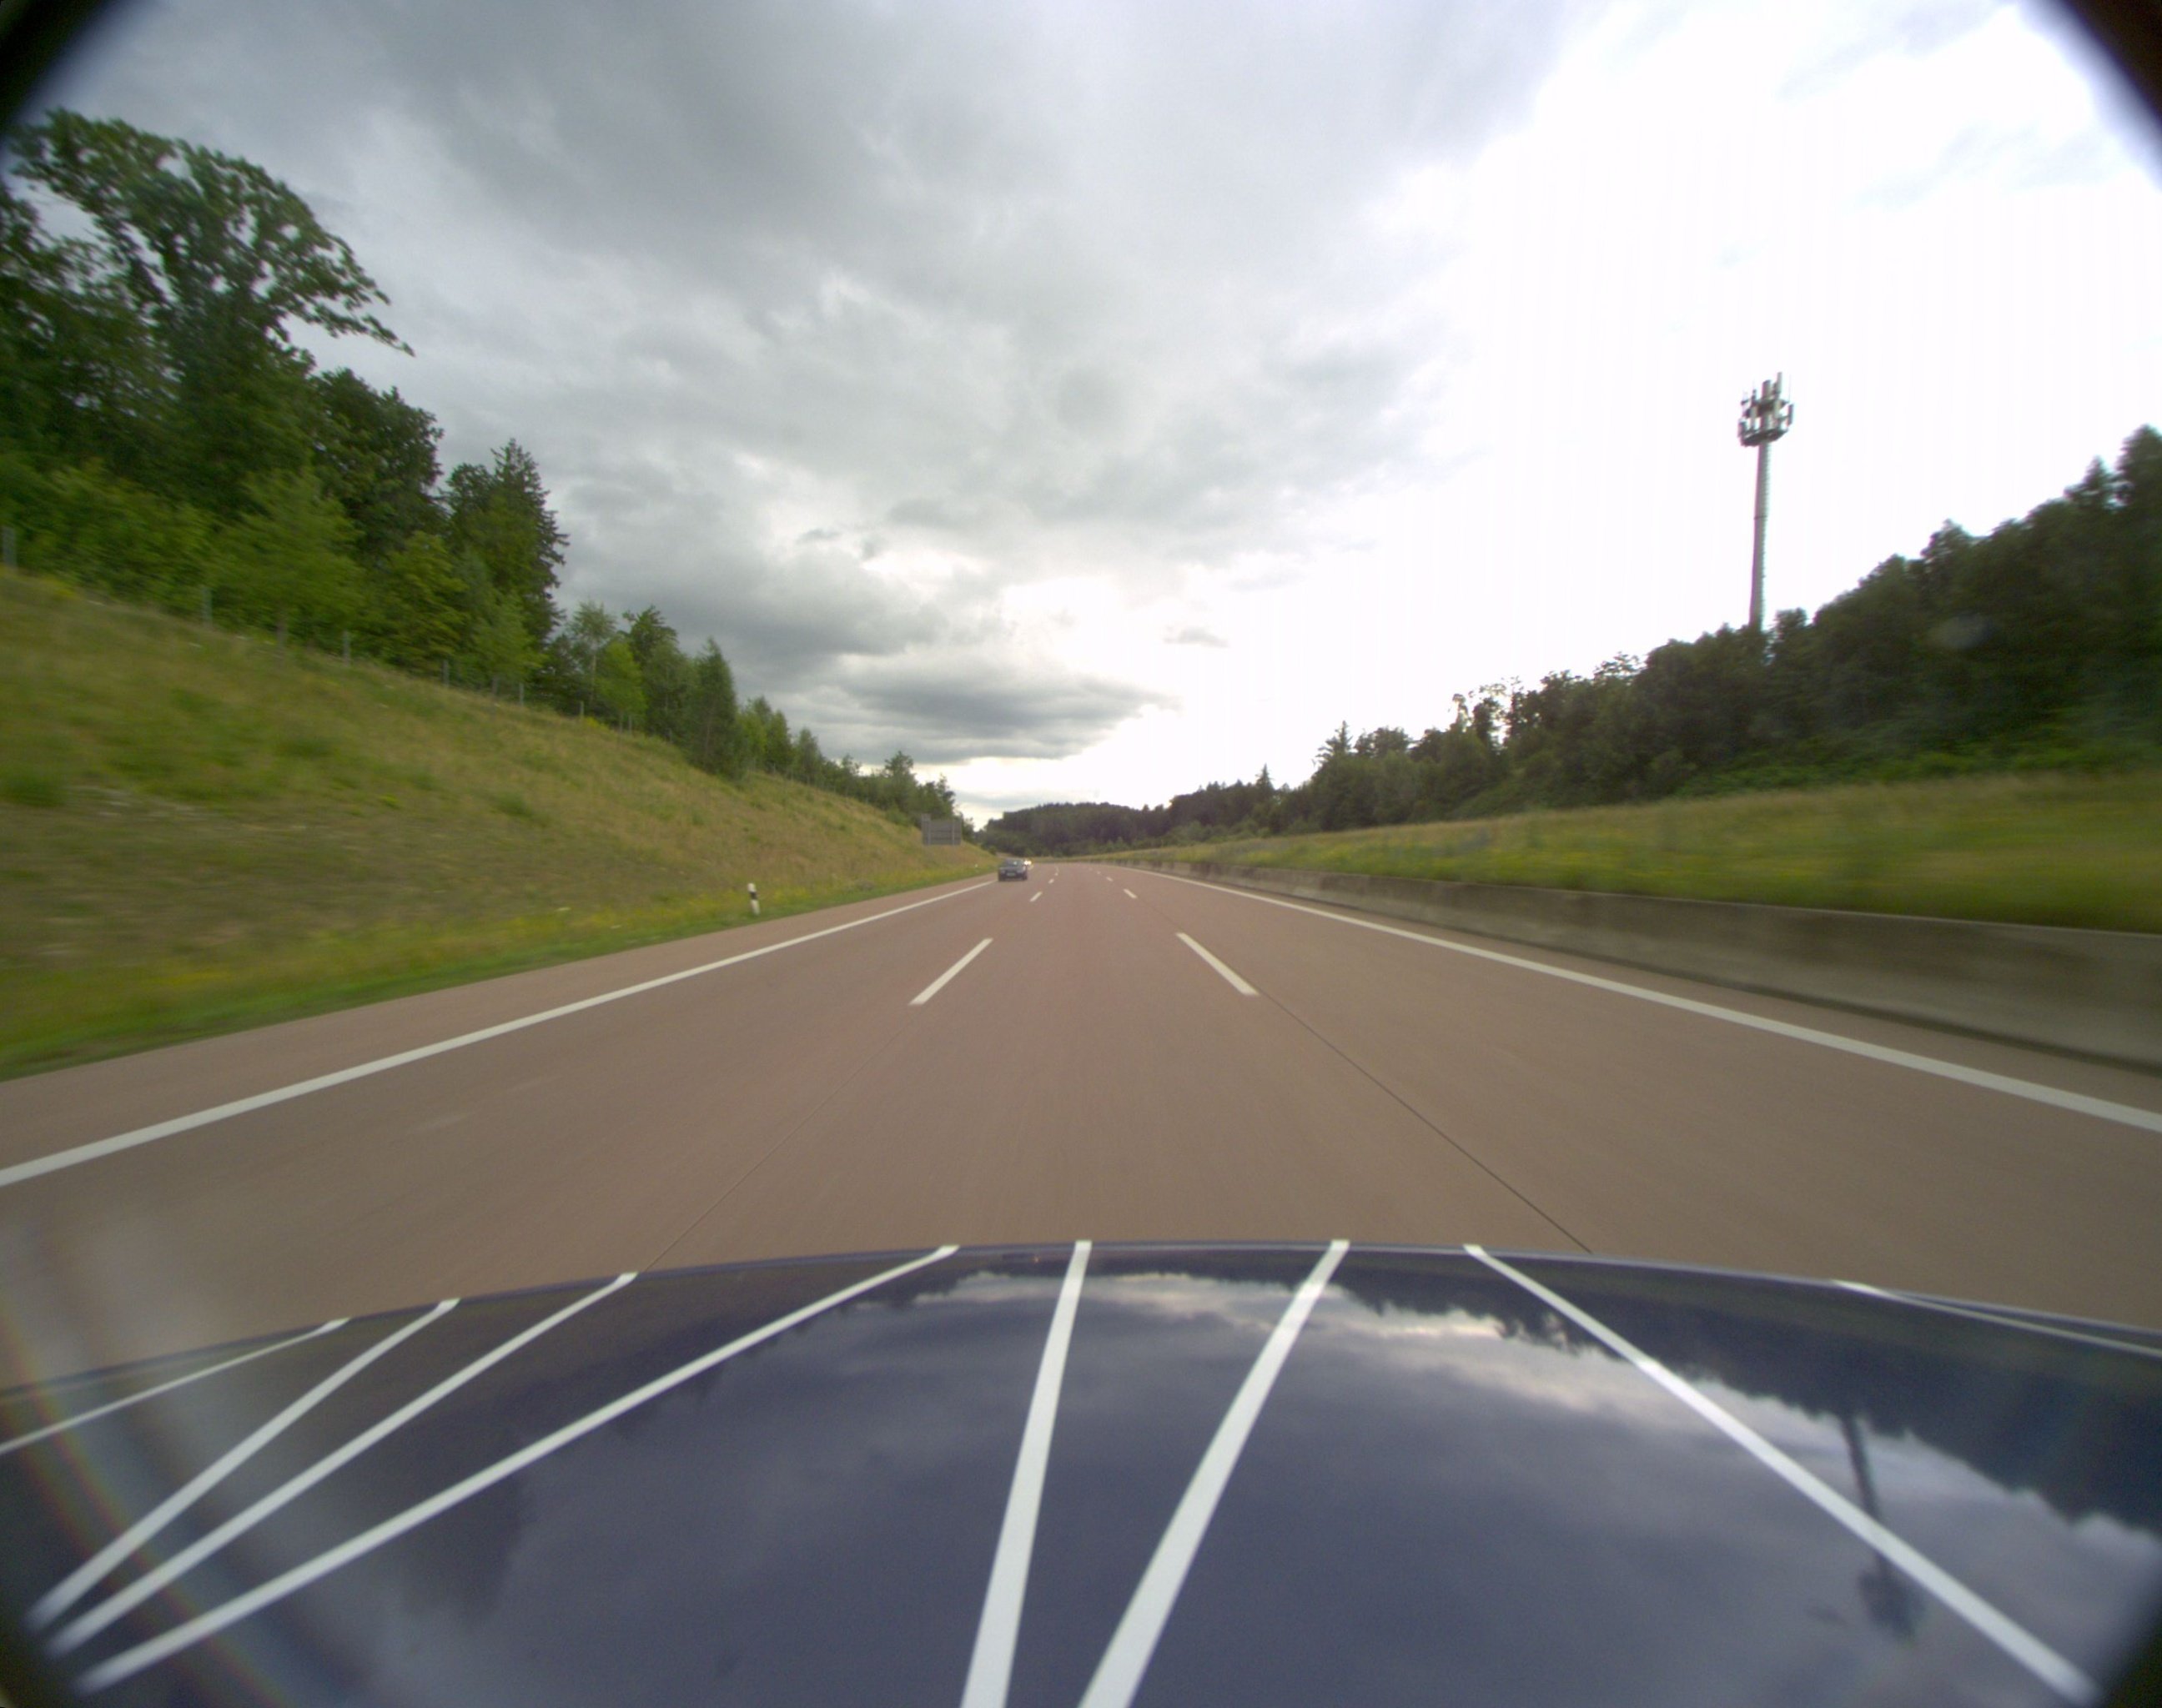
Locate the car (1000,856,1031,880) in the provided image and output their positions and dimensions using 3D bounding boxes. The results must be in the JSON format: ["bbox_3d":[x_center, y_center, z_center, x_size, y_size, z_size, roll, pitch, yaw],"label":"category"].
[{"bbox_3d":[-4.281,0.879,49.875,1.676,1.395,4.232,-1,1,-1],"label":"car"}]
